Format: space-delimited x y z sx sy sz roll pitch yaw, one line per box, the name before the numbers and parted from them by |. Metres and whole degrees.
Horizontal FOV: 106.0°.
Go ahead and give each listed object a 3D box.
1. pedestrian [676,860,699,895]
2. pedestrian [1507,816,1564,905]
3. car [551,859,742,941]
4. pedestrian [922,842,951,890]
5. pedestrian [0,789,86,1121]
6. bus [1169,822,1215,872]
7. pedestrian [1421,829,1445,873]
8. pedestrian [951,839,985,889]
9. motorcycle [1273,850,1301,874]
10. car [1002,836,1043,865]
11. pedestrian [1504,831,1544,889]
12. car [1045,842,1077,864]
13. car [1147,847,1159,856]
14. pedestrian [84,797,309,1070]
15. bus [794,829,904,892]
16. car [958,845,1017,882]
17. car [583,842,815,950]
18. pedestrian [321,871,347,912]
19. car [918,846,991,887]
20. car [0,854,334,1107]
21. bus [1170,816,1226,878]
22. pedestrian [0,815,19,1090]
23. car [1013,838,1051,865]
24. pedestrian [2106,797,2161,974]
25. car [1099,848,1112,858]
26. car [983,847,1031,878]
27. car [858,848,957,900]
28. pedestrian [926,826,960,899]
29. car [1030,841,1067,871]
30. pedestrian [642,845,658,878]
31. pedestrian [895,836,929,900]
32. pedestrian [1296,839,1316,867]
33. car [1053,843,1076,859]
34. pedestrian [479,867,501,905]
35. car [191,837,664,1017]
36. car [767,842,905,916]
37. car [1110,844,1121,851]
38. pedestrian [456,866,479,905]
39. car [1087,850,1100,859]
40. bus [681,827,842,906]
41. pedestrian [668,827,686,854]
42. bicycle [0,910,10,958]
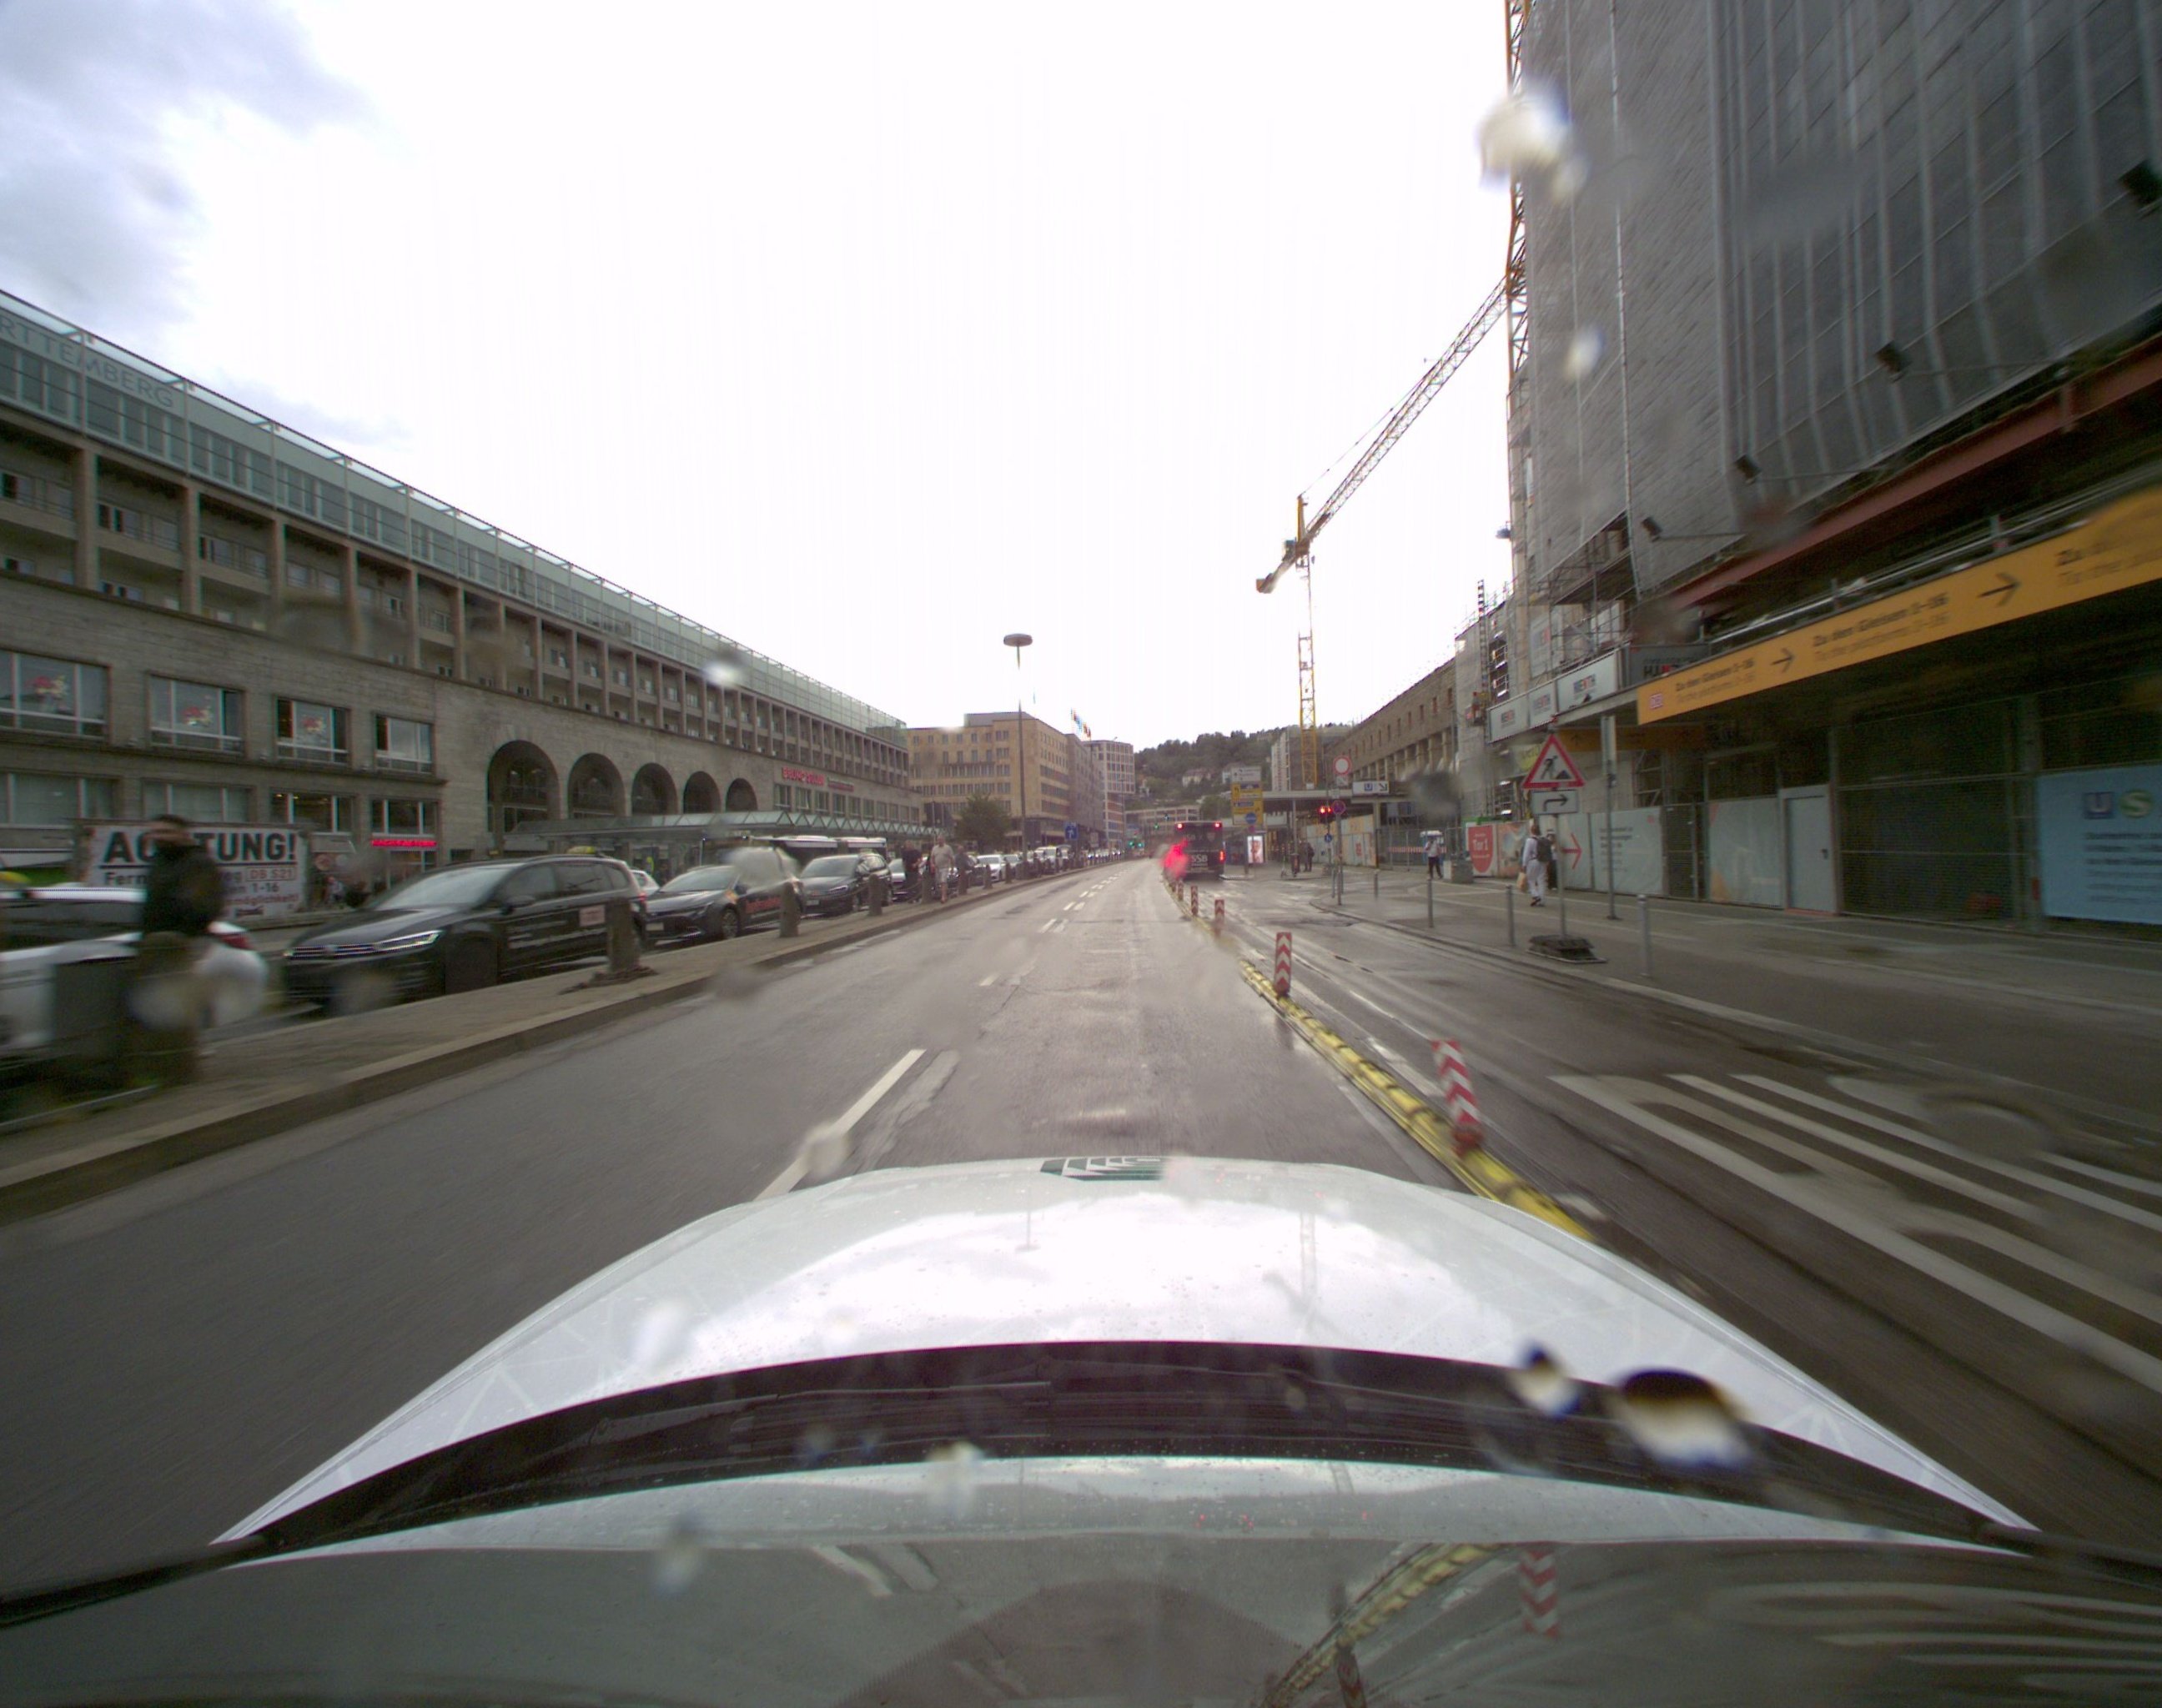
pedestrian | -18.395 1.079 38.071 0.656 1.613 0.739 -1 0 1
pedestrian | 9.995 0.136 17.923 0.719 1.847 0.811 -4 0 5
car | -10.692 1.054 20.537 1.921 1.690 4.688 -3 0 5
pedestrian | -4.958 0.390 27.970 0.719 1.606 0.997 0 1 5
pedestrian | -6.096 0.559 4.443 0.552 1.775 0.757 -4 0 39
bus | 7.354 -0.420 54.785 2.741 3.066 9.008 -1 0 6
pedestrian | 15.142 -0.131 35.059 0.641 1.847 0.660 -4 0 5
pedestrian | -4.088 0.351 29.404 1.045 1.768 0.617 -2 0 4
motorcycle | 10.100 0.384 39.889 0.579 1.166 1.627 -1 0 44
car | -3.806 -0.226 53.794 1.921 1.698 4.891 -3 0 4
pedestrian | 12.153 0.160 22.356 0.648 1.539 0.666 -4 0 6
car | -1.705 -0.128 70.138 1.983 1.722 4.791 -2 0 7
car | 12.429 -0.403 140.560 1.983 1.552 4.008 -2 0 7
pedestrian | -6.253 0.530 5.804 0.781 1.775 0.605 -4 0 -7
bus | -14.298 0.306 51.338 2.863 3.459 10.592 -2 0 6
car | -4.683 0.451 41.731 1.967 1.659 5.199 -3 0 4
car | -7.119 0.698 15.867 1.921 1.690 4.688 -3 0 5
pedestrian | -32.177 1.618 35.084 0.466 1.717 0.692 -2 0 -2
car | -5.394 0.499 35.408 1.921 1.576 5.018 -3 0 4
car | -8.085 0.875 5.112 2.005 1.621 4.849 -2 1 5
bus | 6.430 -0.366 45.759 2.741 3.068 9.095 -1 0 6
pedestrian | -7.064 0.620 4.859 0.648 1.711 0.593 0 1 3
car | -3.474 -0.170 58.824 1.920 1.806 4.590 -3 0 6
pedestrian | 10.277 0.287 7.418 0.546 1.632 0.997 -4 0 5
car | 4.522 -0.172 150.037 1.952 1.564 4.843 -4 1 6
car | -4.246 0.464 47.512 1.921 1.576 5.058 -3 0 4
car | -6.023 0.630 29.011 1.921 1.576 5.268 -3 0 5
pedestrian | -3.838 0.231 22.695 0.719 2.007 0.774 -1 0 5
car | -2.513 0.110 64.437 1.983 2.178 5.554 -2 0 6
pedestrian | -20.107 0.355 38.002 0.586 1.507 0.621 -1 1 -25
pedestrian | -4.775 0.386 23.057 0.695 1.754 0.712 -2 0 5
pedestrian | 13.128 -0.059 47.553 0.898 1.635 0.833 -1 0 33
car | -1.620 -0.296 82.672 1.985 1.552 4.003 -2 0 3
pedestrian | -31.891 1.717 43.969 0.573 2.013 0.710 -2 0 4
car | -7.682 0.721 10.392 1.921 1.690 4.688 -3 0 5
car | -6.455 0.599 22.120 1.921 1.690 4.688 -3 0 5
car | 8.377 -1.553 198.083 1.982 1.616 4.991 -2 0 9
pedestrian | -32.413 1.650 43.001 0.573 2.013 0.710 -2 0 4
car | 2.440 0.141 157.936 1.952 1.564 4.843 -4 1 6
bus | -15.459 0.488 40.745 2.863 3.376 10.592 -2 0 6
pedestrian | -24.469 -0.817 49.338 0.627 1.567 0.758 0 1 7
bicycle | -31.521 2.291 22.703 2.202 1.325 0.679 -2 0 -5
